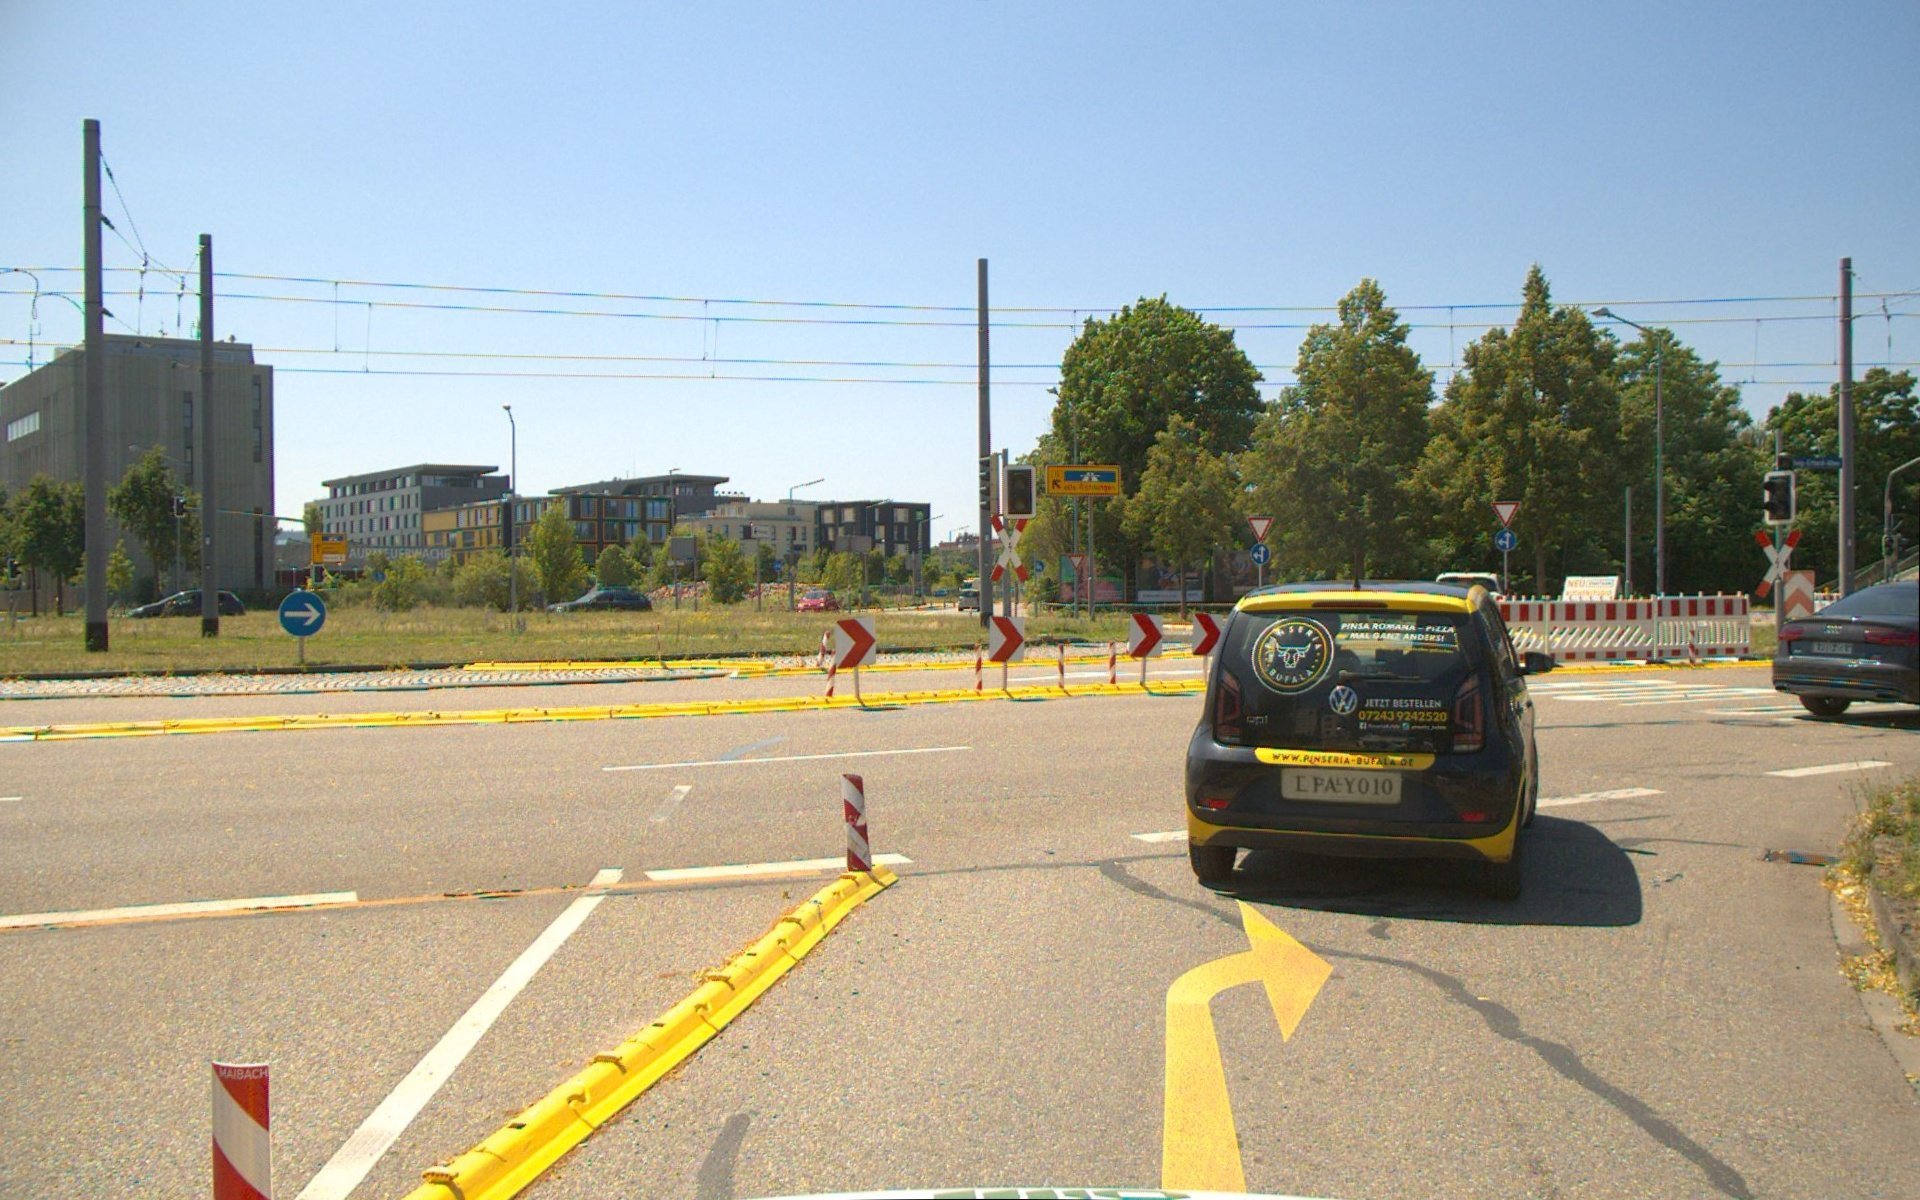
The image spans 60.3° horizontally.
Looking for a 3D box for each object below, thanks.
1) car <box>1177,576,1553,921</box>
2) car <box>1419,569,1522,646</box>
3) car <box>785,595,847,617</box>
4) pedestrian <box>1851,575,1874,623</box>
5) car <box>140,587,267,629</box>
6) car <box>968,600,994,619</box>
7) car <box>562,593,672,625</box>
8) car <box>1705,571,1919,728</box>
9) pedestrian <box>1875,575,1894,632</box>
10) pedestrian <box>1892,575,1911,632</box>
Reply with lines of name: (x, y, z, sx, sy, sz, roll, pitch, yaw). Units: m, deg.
car: (2.442, 0.622, 9.244, 1.585, 1.477, 3.987, 0, 0, 20)
car: (10.910, 0.134, 35.204, 1.952, 1.512, 4.369, -1, 0, 18)
car: (-7.628, 0.317, 87.789, 1.466, 1.108, 3.512, 0, 1, 31)
pedestrian: (27.995, -0.032, 51.288, 0.509, 1.454, 0.352, -1, 0, 6)
car: (-28.174, 0.278, 61.662, 4.016, 1.486, 1.703, -1, 1, -43)
car: (1.577, 0.690, 121.335, 1.623, 1.396, 3.034, -1, 0, 6)
car: (-15.248, 0.379, 73.637, 4.431, 1.342, 1.976, -1, 1, -35)
car: (10.267, 0.448, 17.460, 4.579, 1.474, 1.983, 0, 0, -27)
pedestrian: (28.952, 0.107, 51.773, 0.438, 1.769, 0.291, 0, 0, 8)
pedestrian: (29.430, 0.111, 51.712, 0.438, 1.769, 0.318, 0, 0, 8)
